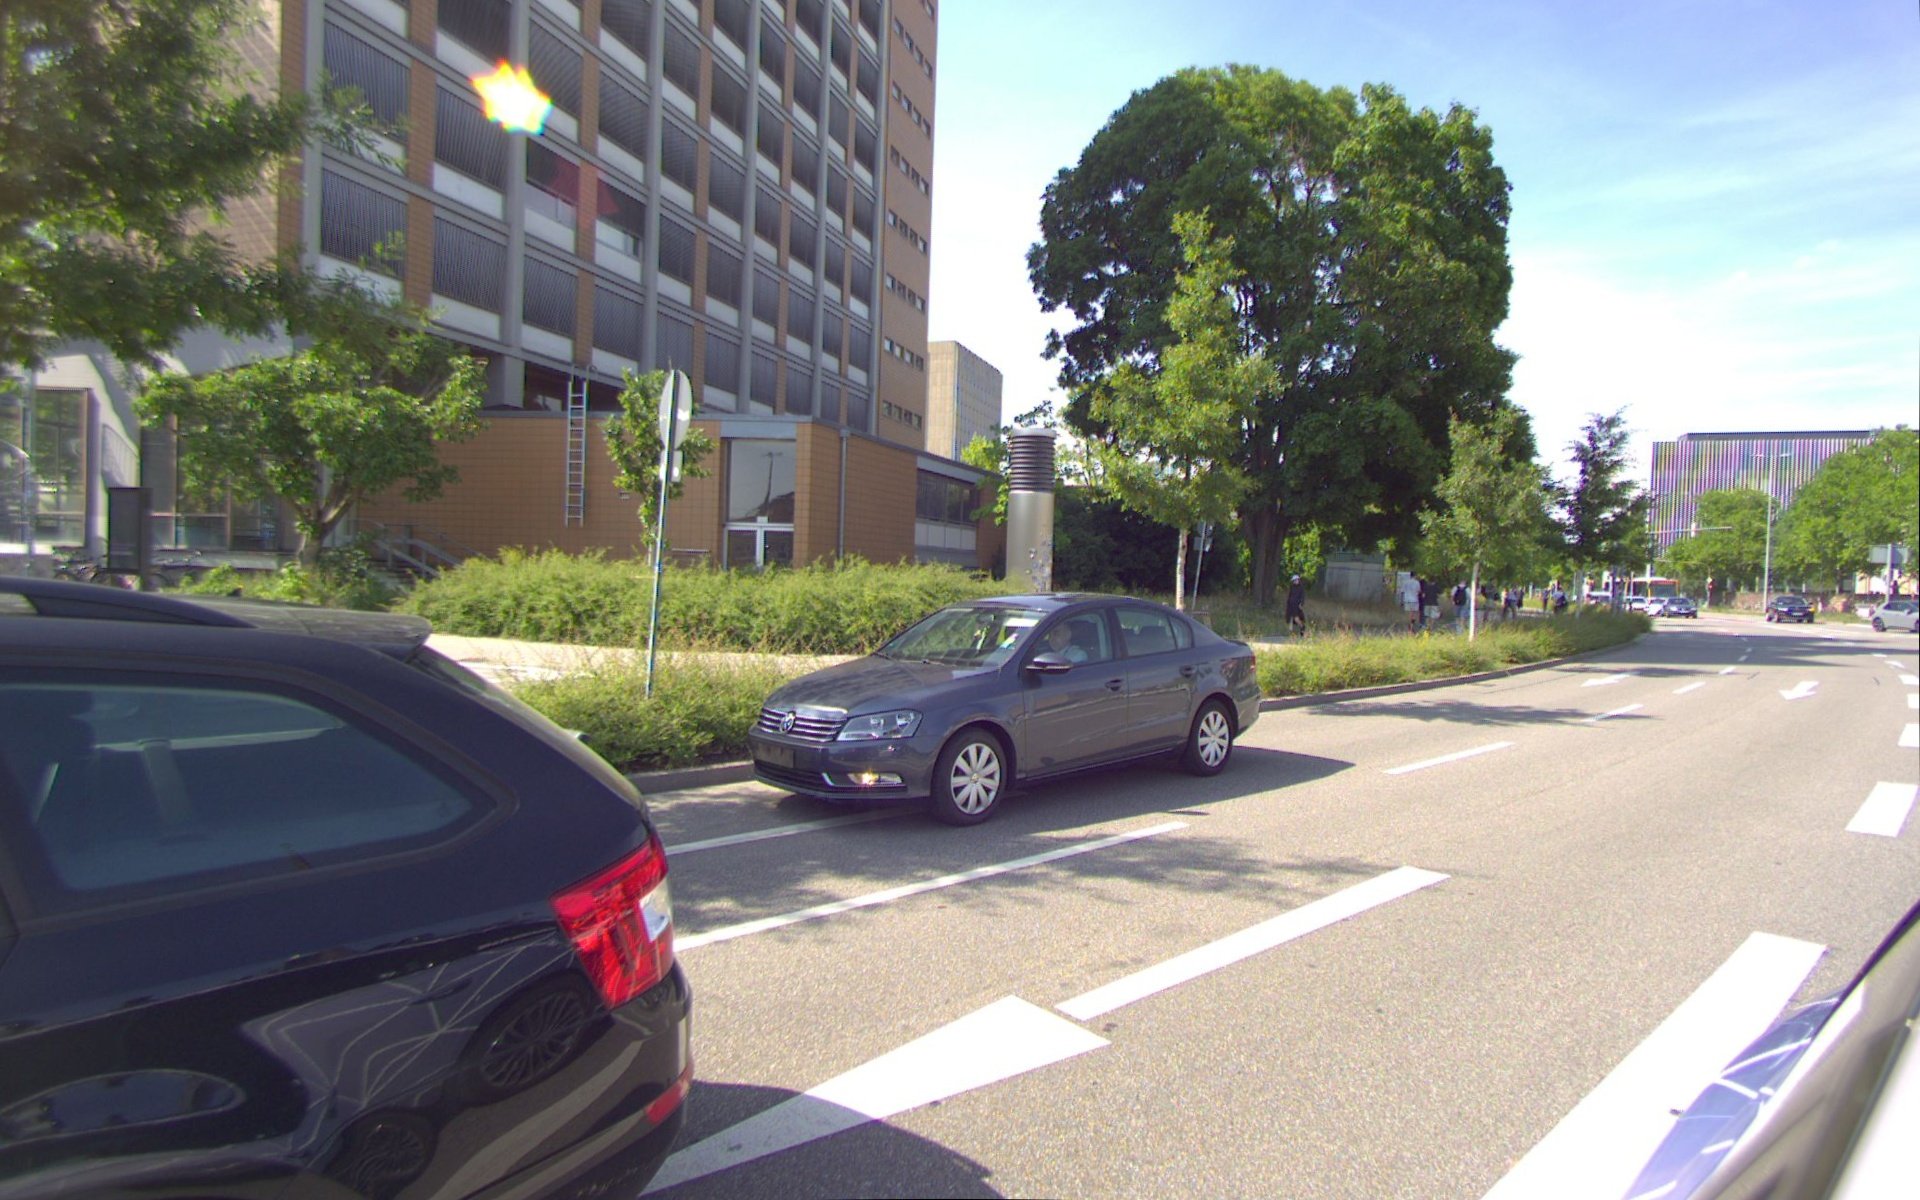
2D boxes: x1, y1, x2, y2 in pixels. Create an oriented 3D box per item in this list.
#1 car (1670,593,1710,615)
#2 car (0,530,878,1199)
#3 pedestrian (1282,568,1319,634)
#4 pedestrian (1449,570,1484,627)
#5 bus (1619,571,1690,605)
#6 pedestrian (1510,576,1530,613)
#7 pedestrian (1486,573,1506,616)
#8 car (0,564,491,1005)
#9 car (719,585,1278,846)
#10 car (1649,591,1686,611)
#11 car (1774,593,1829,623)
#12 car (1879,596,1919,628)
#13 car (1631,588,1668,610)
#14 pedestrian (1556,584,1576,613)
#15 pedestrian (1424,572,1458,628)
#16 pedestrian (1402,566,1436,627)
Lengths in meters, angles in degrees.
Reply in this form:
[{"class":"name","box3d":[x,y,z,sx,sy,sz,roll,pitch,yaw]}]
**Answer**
[{"class":"car","box3d":[51.757,0.258,71.835,1.635,1.442,4.083,0,0,26]},{"class":"car","box3d":[-2.446,0.640,1.096,4.698,1.453,1.633,-1,1,-42]},{"class":"pedestrian","box3d":[9.021,0.013,26.798,0.719,1.684,0.592,0,3,-41]},{"class":"pedestrian","box3d":[15.523,-0.044,31.013,0.739,1.694,0.643,0,3,-41]},{"class":"bus","box3d":[67.036,-1.177,98.002,2.763,3.076,12.065,2,1,21]},{"class":"pedestrian","box3d":[23.109,-0.225,41.771,0.638,1.464,0.564,3,3,29]},{"class":"pedestrian","box3d":[22.346,-0.237,42.172,0.638,1.785,0.470,3,3,29]},{"class":"car","box3d":[-4.192,0.577,3.546,4.320,1.447,1.703,1,1,-40]},{"class":"car","box3d":[0.540,0.616,7.796,4.451,1.453,1.633,-1,1,-42]},{"class":"car","box3d":[53.996,0.067,77.301,1.635,1.442,4.083,0,0,26]},{"class":"car","box3d":[51.480,0.434,61.979,1.743,1.751,4.073,0,0,28]},{"class":"car","box3d":[45.310,0.541,47.012,1.802,1.454,4.091,0,0,6]},{"class":"car","box3d":[47.830,-0.078,70.266,1.667,1.493,3.723,0,0,28]},{"class":"pedestrian","box3d":[25.334,-0.065,42.332,0.639,1.145,0.743,4,3,33]},{"class":"pedestrian","box3d":[14.756,-0.008,31.055,0.719,1.646,0.643,0,3,-41]},{"class":"pedestrian","box3d":[14.310,-0.115,31.538,0.719,1.860,0.643,0,3,-41]}]
